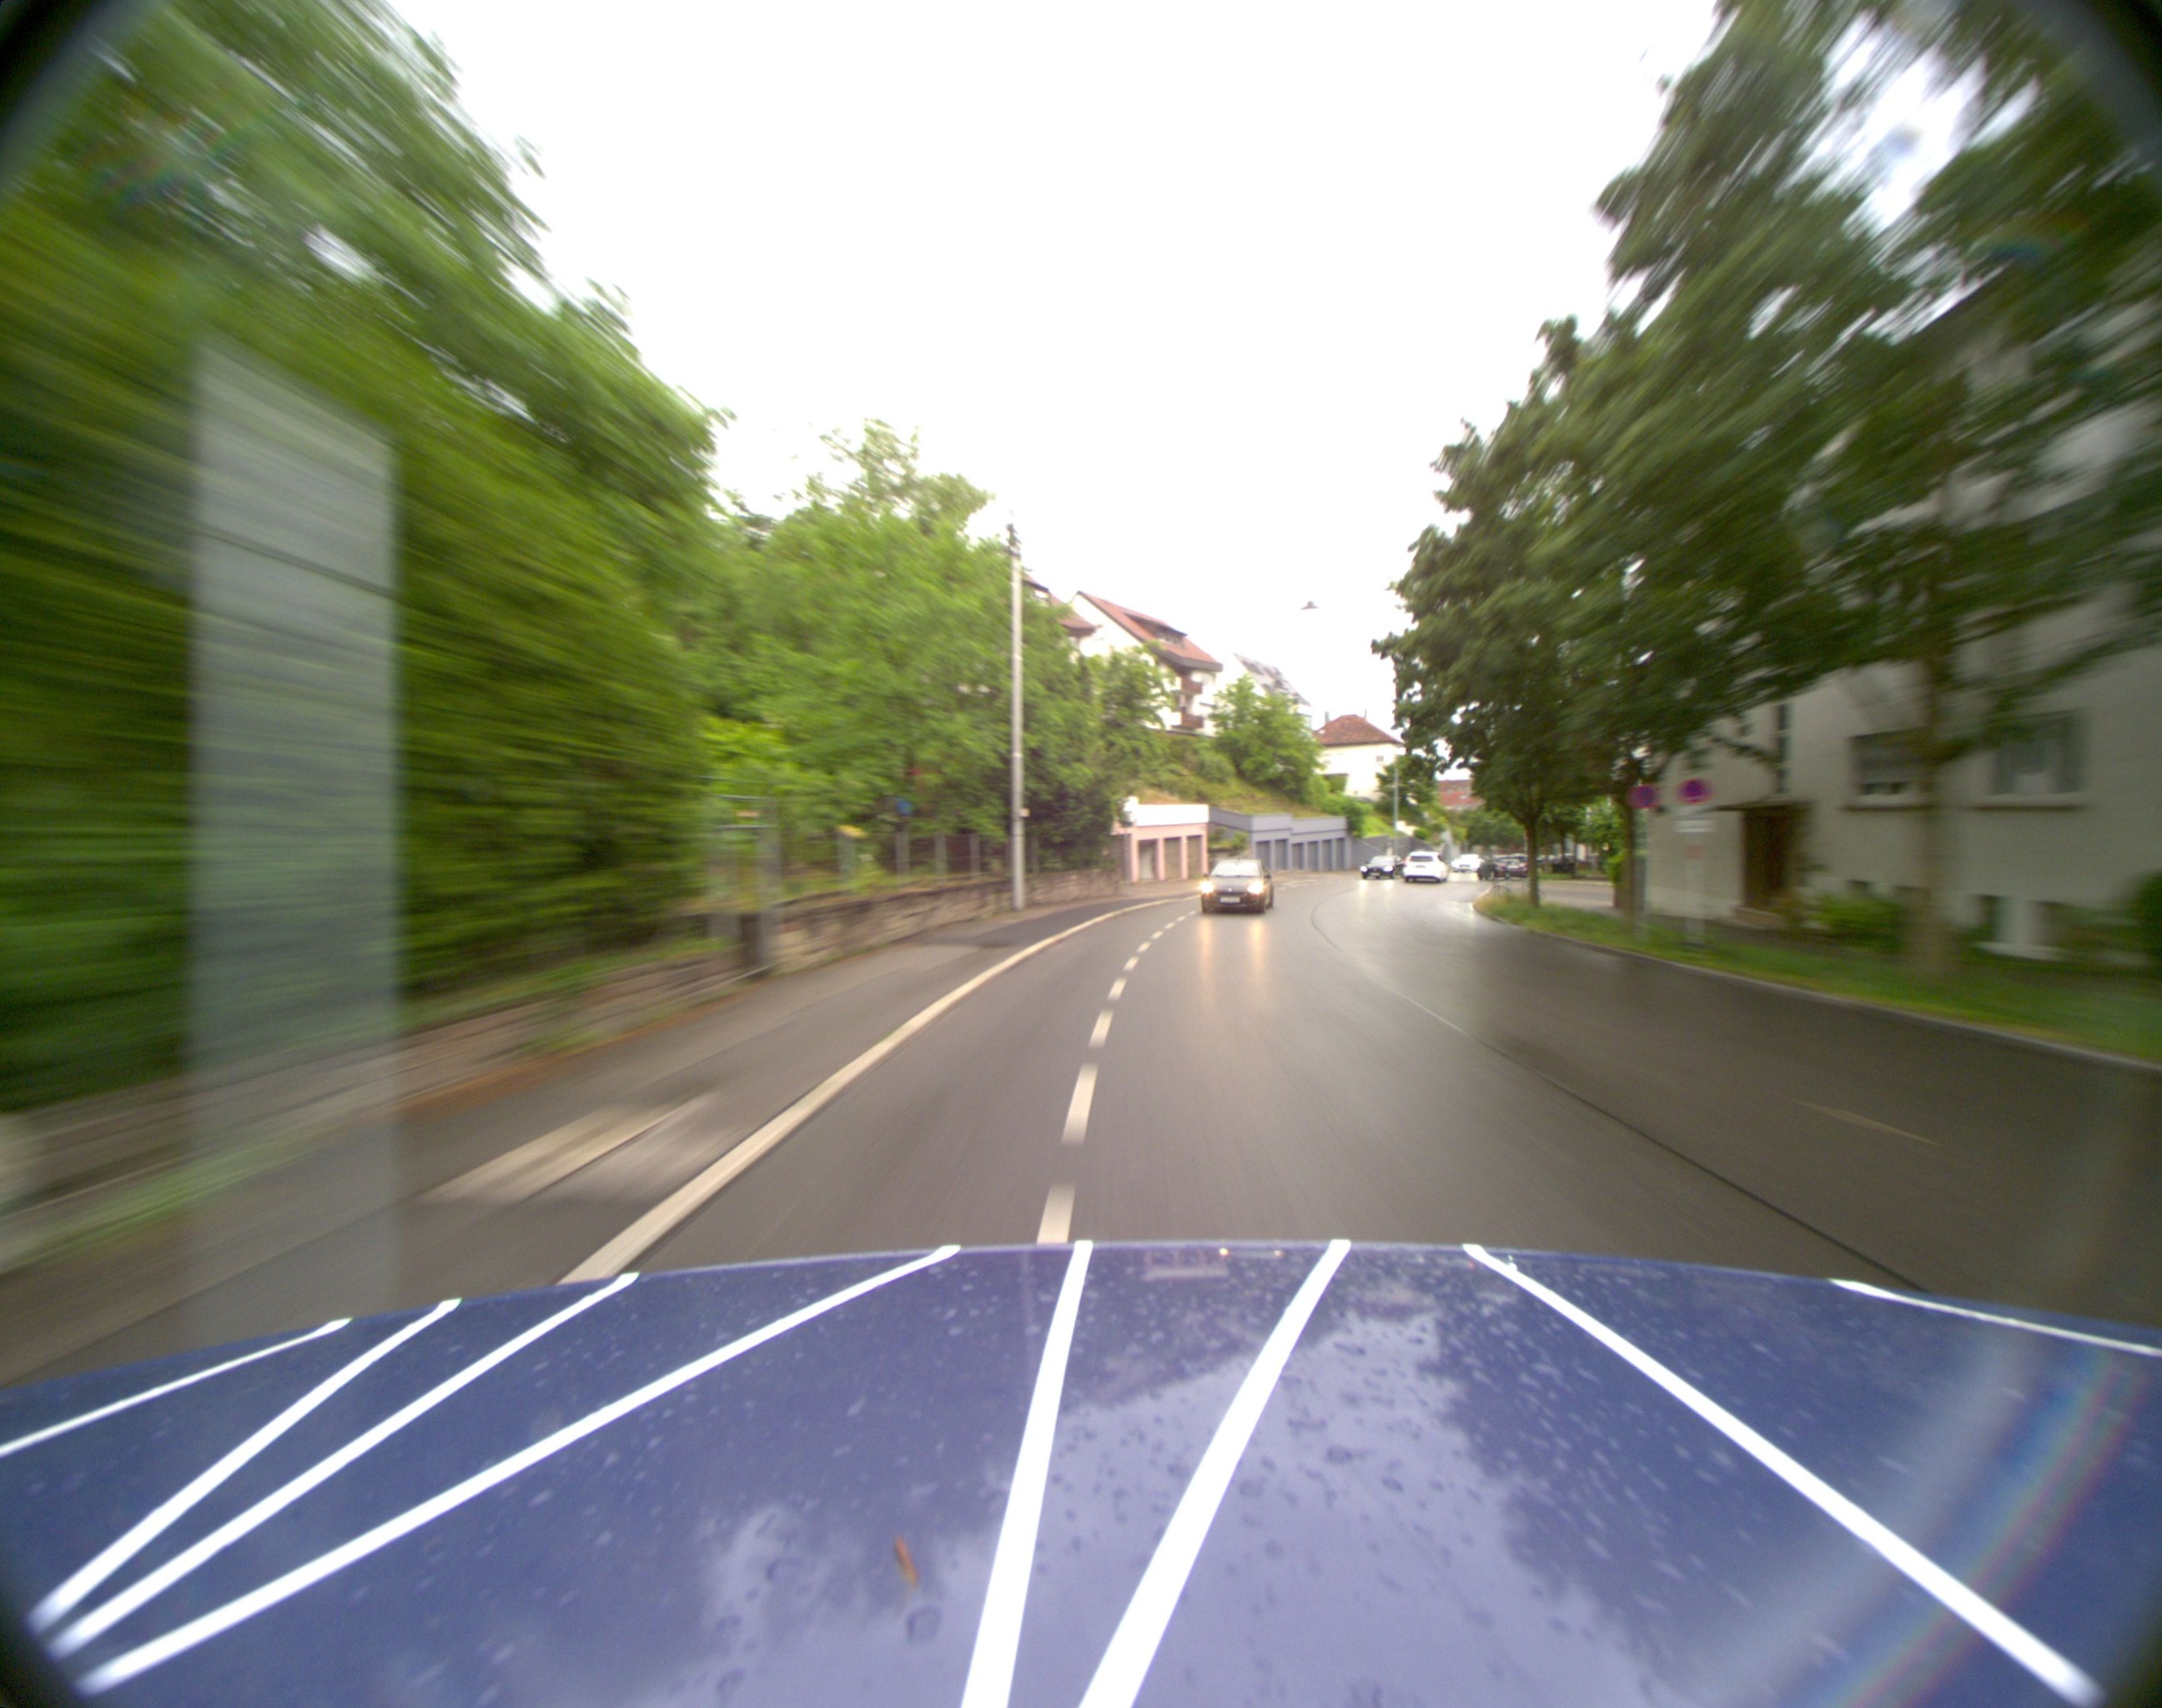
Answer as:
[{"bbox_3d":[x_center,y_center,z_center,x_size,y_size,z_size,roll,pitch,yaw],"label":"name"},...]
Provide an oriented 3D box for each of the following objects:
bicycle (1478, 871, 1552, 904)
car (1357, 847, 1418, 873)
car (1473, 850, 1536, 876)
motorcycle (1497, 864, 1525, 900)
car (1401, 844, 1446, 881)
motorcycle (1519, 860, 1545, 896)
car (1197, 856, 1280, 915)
[{"bbox_3d":[14.136,1.081,24.822,1.965,1.054,0.755,0,1,14],"label":"bicycle"},{"bbox_3d":[18.683,0.351,46.175,1.994,1.502,4.219,-2,0,43],"label":"car"},{"bbox_3d":[24.132,0.498,43.448,1.997,1.383,4.201,-1,1,12],"label":"car"},{"bbox_3d":[15.325,0.981,27.090,0.557,1.196,1.402,0,1,43],"label":"motorcycle"},{"bbox_3d":[18.293,0.431,40.560,1.985,1.778,4.703,2,1,25],"label":"car"},{"bbox_3d":[16.026,0.844,26.986,0.552,1.221,1.308,0,1,43],"label":"motorcycle"},{"bbox_3d":[4.529,0.803,21.420,1.695,1.456,4.006,-1,0,20],"label":"car"}]
